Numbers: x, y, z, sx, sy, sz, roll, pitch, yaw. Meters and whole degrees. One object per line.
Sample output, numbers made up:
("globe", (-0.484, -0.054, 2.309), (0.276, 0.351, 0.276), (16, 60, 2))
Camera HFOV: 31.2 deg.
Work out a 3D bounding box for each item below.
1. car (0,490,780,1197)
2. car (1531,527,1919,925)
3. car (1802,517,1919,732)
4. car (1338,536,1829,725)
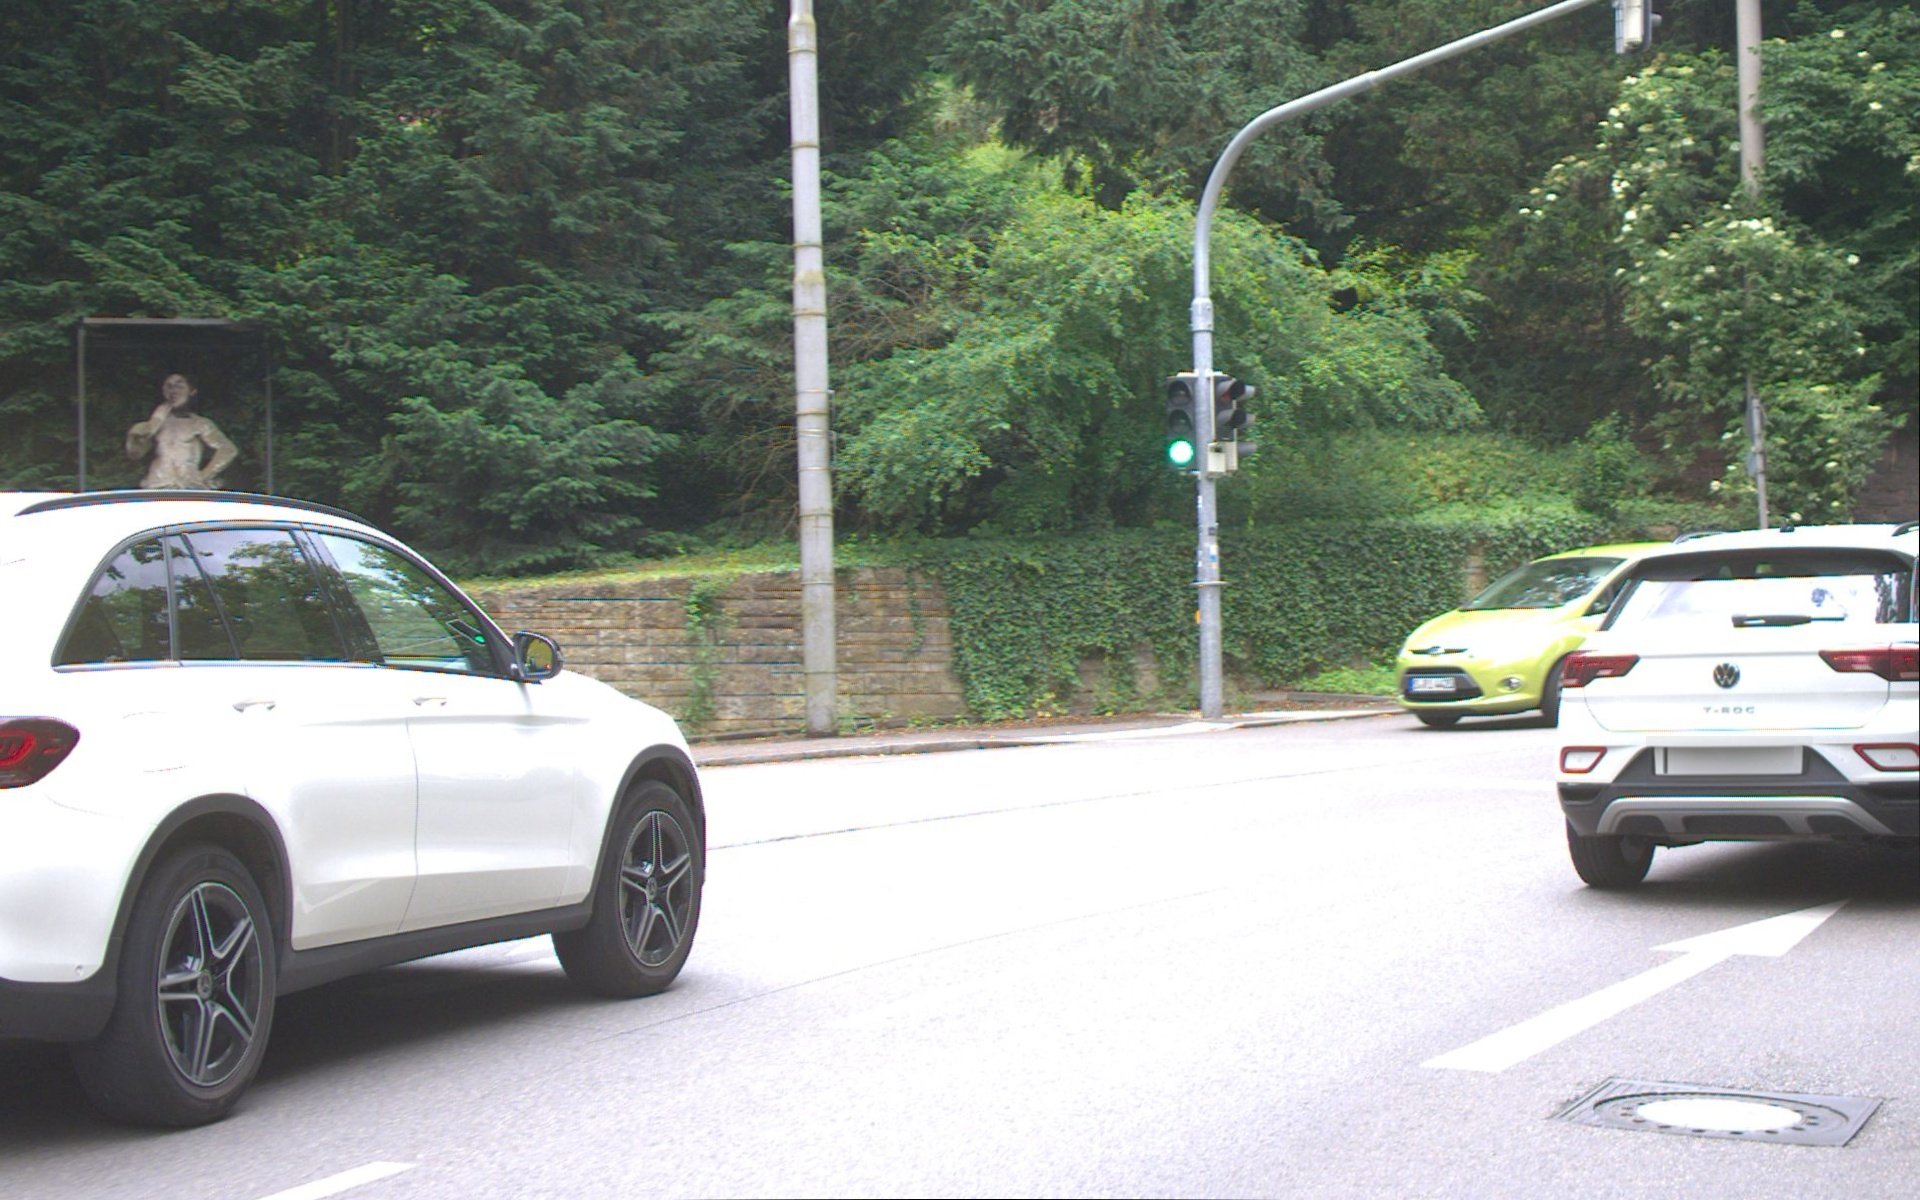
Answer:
("car", (-2.273, 0.527, 10.297), (1.860, 1.600, 4.666), (2, 0, 18))
("car", (4.177, 0.449, 15.695), (1.757, 1.547, 4.331), (0, 1, 29))
("car", (8.610, 0.082, 26.240), (4.764, 1.529, 1.870), (-3, 2, -42))
("car", (5.232, 0.219, 28.759), (3.886, 1.418, 1.560), (-2, 1, -28))
